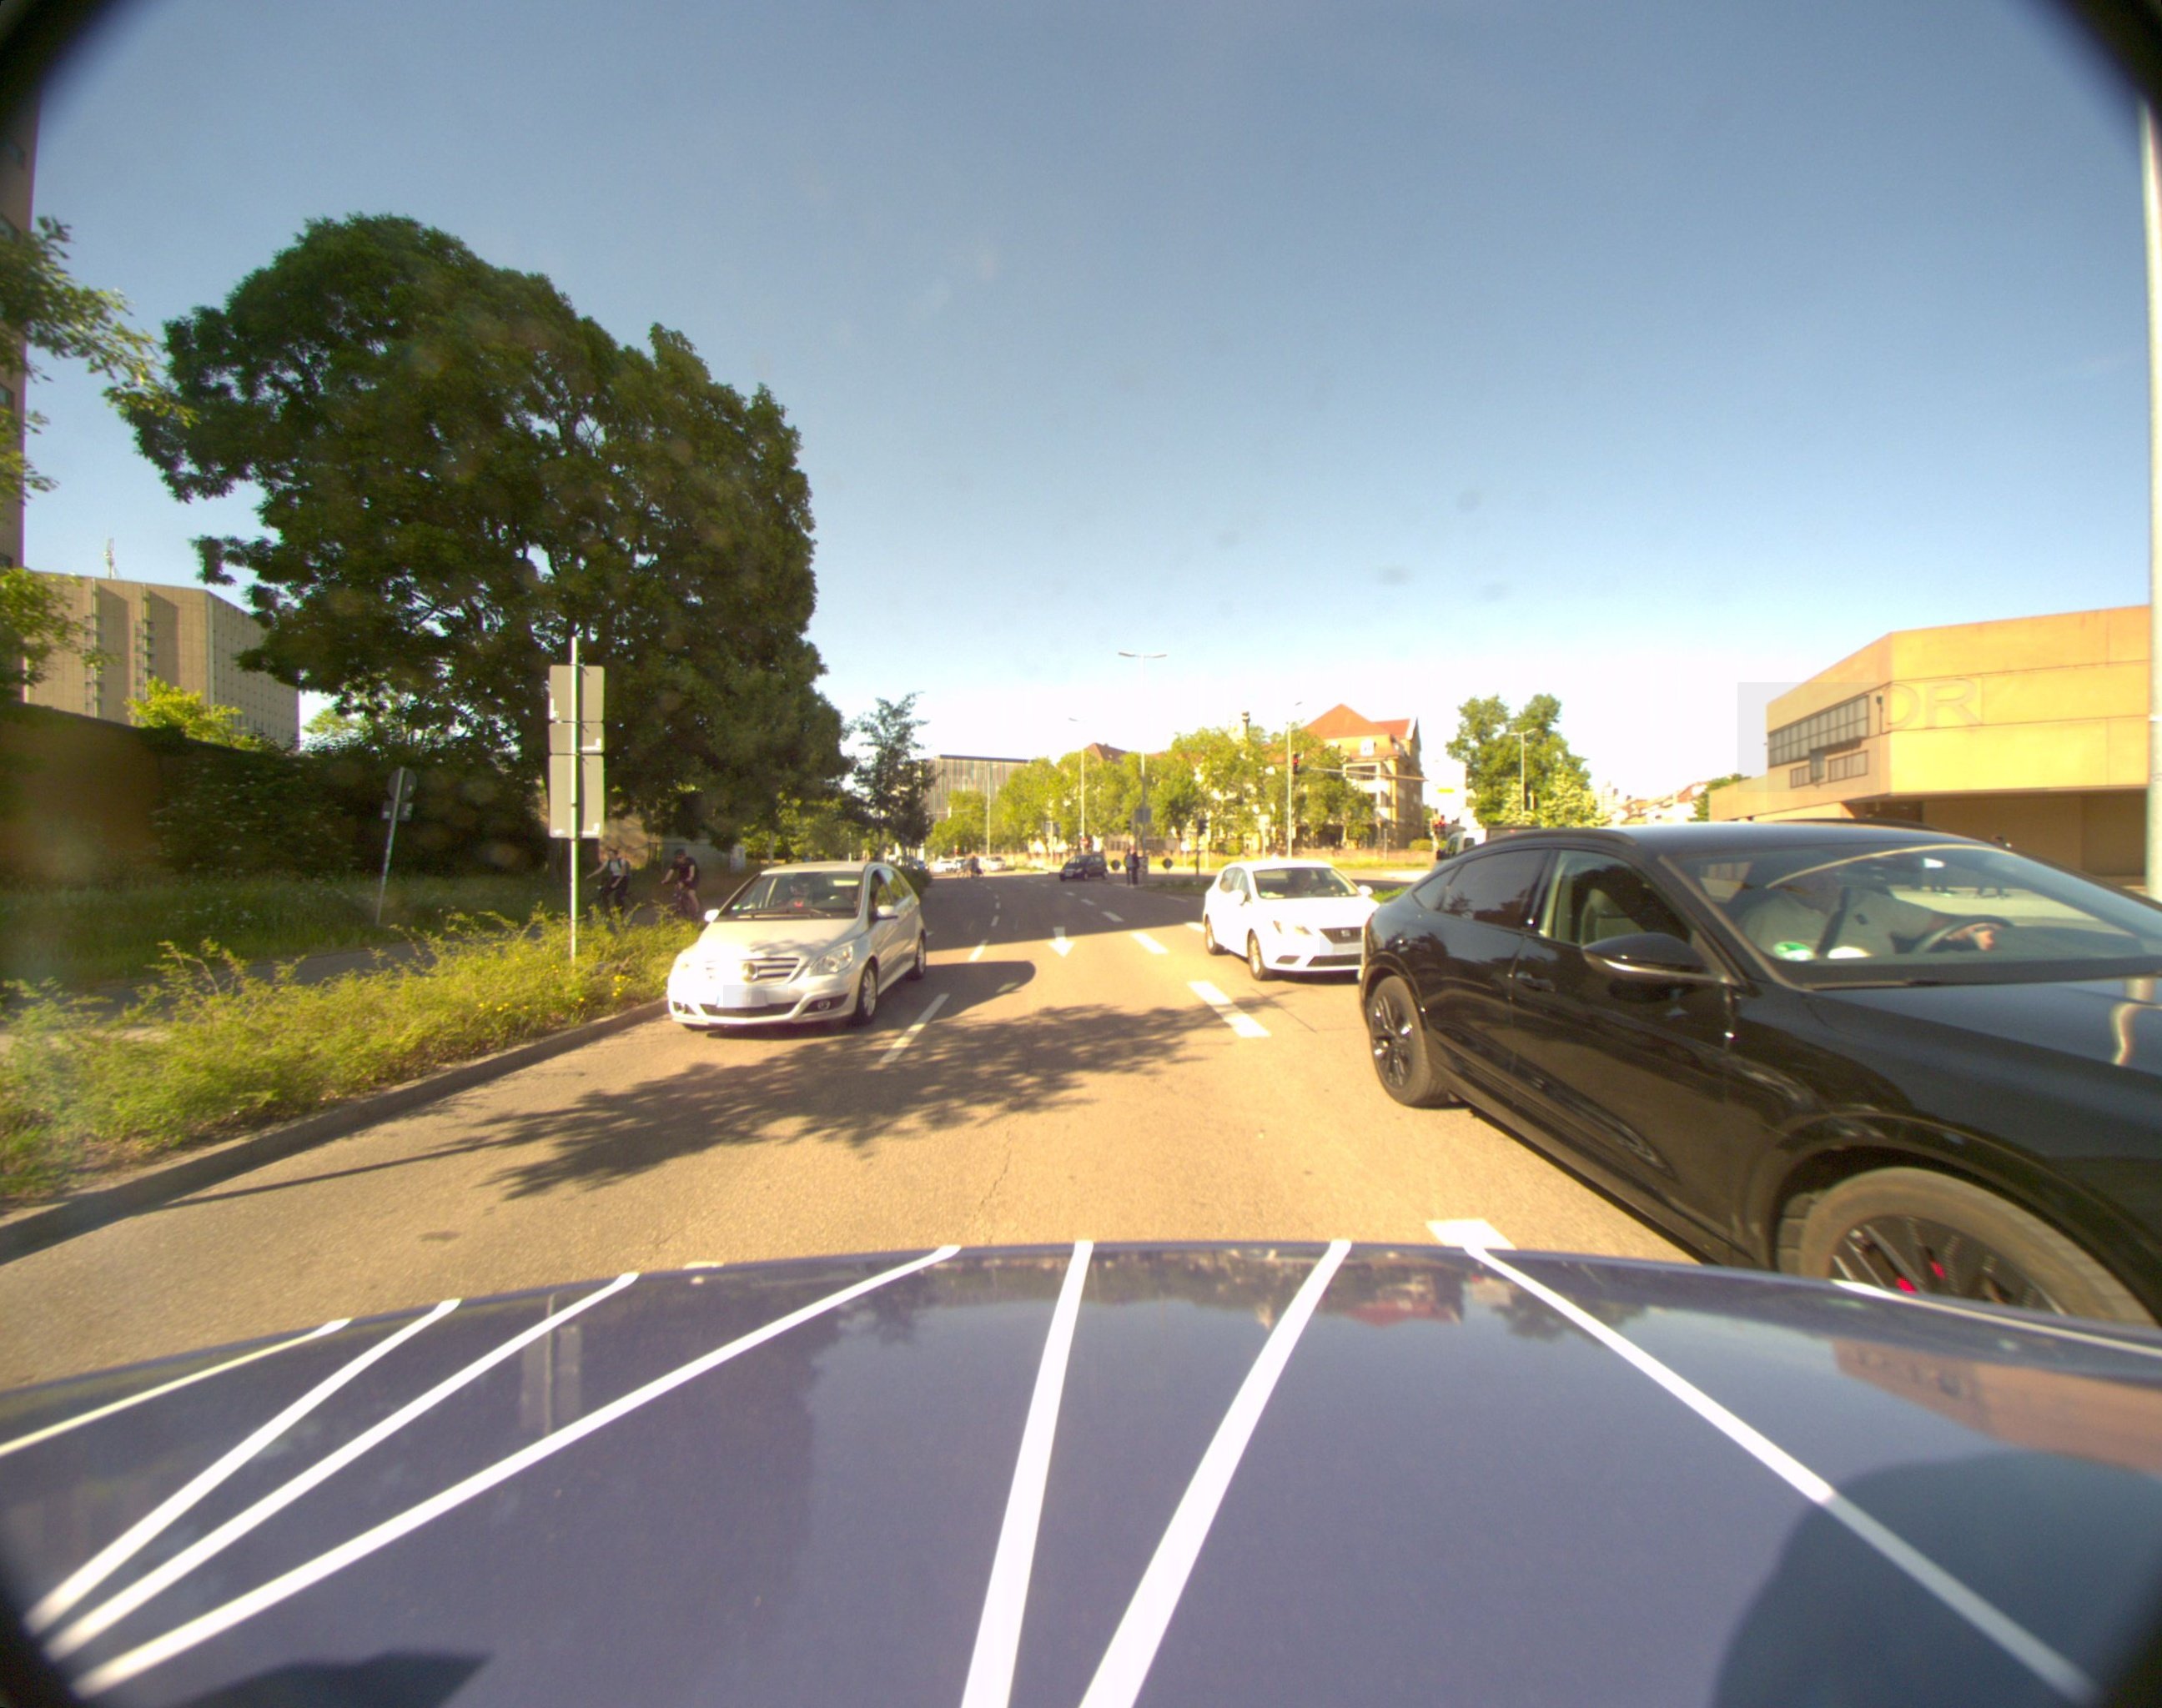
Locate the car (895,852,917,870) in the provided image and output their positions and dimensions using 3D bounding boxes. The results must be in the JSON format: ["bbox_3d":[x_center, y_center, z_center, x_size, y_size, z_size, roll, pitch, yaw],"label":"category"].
[{"bbox_3d":[-18.398,0.730,79.907,1.830,1.842,3.746,-1,0,-19],"label":"car"}]

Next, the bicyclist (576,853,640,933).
[{"bbox_3d":[-9.753,0.780,15.693,0.687,1.589,0.977,1,0,0],"label":"bicyclist"}]

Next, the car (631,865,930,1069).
[{"bbox_3d":[-2.947,0.990,8.473,1.786,1.615,4.042,-2,0,-2],"label":"car"}]

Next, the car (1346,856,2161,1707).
[{"bbox_3d":[2.727,0.831,2.887,1.858,1.606,4.453,-1,0,0],"label":"car"}]

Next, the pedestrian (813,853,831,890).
[{"bbox_3d":[-9.964,0.662,29.219,0.518,1.394,0.960,1,1,-11],"label":"pedestrian"}]

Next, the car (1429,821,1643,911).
[{"bbox_3d":[13.265,0.297,22.828,2.116,2.300,6.210,-1,0,-7],"label":"car"}]

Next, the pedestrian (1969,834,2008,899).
[{"bbox_3d":[25.147,0.335,21.062,0.644,1.766,0.618,0,1,45],"label":"pedestrian"}]

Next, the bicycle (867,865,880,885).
[{"bbox_3d":[-12.956,1.293,47.397,0.692,1.211,1.832,1,0,-14],"label":"bicycle"}]

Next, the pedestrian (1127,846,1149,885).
[{"bbox_3d":[2.669,0.545,35.911,0.756,1.814,0.775,-2,1,-15],"label":"pedestrian"}]

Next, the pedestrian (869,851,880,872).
[{"bbox_3d":[-18.870,0.664,69.443,0.823,1.906,0.770,-3,1,-27],"label":"pedestrian"}]

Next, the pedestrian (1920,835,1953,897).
[{"bbox_3d":[24.909,0.338,22.125,0.467,1.766,0.647,0,1,31],"label":"pedestrian"}]

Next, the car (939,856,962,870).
[{"bbox_3d":[-13.331,0.898,77.356,1.754,1.370,3.568,-1,0,-19],"label":"car"}]

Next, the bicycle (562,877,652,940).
[{"bbox_3d":[-9.765,1.085,15.750,0.687,1.157,1.883,1,0,0],"label":"bicycle"}]

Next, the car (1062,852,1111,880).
[{"bbox_3d":[0.376,0.693,46.100,1.648,1.601,3.495,0,0,24],"label":"car"}]

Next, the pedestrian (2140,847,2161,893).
[{"bbox_3d":[31.037,0.465,21.657,0.644,1.303,0.763,-1,1,12],"label":"pedestrian"}]

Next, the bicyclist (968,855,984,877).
[{"bbox_3d":[-7.075,0.776,51.195,0.848,1.465,0.764,-1,1,-26],"label":"bicyclist"}]

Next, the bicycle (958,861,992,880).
[{"bbox_3d":[-7.135,1.074,51.168,2.128,1.168,0.764,-3,1,-26],"label":"bicycle"}]

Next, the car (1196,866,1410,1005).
[{"bbox_3d":[2.720,0.915,10.162,1.575,1.410,3.712,-2,0,-3],"label":"car"}]

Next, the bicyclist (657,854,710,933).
[{"bbox_3d":[-8.415,0.807,16.108,0.627,1.628,0.994,0,0,-4],"label":"bicyclist"}]

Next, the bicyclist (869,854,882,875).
[{"bbox_3d":[-12.838,0.644,47.404,0.723,1.272,0.906,1,1,-14],"label":"bicyclist"}]

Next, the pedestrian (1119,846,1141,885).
[{"bbox_3d":[2.374,0.559,37.125,0.887,1.814,0.776,-2,1,-5],"label":"pedestrian"}]

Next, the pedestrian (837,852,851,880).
[{"bbox_3d":[-13.675,0.688,43.834,0.694,1.595,0.660,-1,1,-27],"label":"pedestrian"}]

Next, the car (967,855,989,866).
[{"bbox_3d":[-11.643,0.683,85.907,1.587,1.197,3.993,-1,1,-21],"label":"car"}]

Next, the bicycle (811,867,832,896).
[{"bbox_3d":[-9.984,1.050,29.294,0.518,1.039,1.766,1,1,-11],"label":"bicycle"}]

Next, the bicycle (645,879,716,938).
[{"bbox_3d":[-8.407,1.108,16.036,0.627,1.107,1.850,0,0,-4],"label":"bicycle"}]

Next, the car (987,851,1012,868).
[{"bbox_3d":[-8.333,0.595,77.499,1.527,1.669,3.375,-2,0,-22],"label":"car"}]

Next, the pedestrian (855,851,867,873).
[{"bbox_3d":[-20.010,0.710,69.078,0.823,1.906,0.770,-3,1,-27],"label":"pedestrian"}]

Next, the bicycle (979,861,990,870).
[{"bbox_3d":[-9.255,1.086,72.872,0.591,0.884,1.652,-3,1,-21],"label":"bicycle"}]

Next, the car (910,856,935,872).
[{"bbox_3d":[-15.442,0.924,73.914,1.754,1.467,3.568,-2,1,-20],"label":"car"}]

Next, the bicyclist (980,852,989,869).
[{"bbox_3d":[-9.259,0.626,72.811,0.696,1.549,0.814,-3,1,-21],"label":"bicyclist"}]

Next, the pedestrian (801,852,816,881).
[{"bbox_3d":[-15.067,0.687,42.035,0.694,1.595,0.660,-1,1,-27],"label":"pedestrian"}]

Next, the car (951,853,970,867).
[{"bbox_3d":[-14.662,0.702,92.140,1.598,1.596,3.066,-1,0,-23],"label":"car"}]
